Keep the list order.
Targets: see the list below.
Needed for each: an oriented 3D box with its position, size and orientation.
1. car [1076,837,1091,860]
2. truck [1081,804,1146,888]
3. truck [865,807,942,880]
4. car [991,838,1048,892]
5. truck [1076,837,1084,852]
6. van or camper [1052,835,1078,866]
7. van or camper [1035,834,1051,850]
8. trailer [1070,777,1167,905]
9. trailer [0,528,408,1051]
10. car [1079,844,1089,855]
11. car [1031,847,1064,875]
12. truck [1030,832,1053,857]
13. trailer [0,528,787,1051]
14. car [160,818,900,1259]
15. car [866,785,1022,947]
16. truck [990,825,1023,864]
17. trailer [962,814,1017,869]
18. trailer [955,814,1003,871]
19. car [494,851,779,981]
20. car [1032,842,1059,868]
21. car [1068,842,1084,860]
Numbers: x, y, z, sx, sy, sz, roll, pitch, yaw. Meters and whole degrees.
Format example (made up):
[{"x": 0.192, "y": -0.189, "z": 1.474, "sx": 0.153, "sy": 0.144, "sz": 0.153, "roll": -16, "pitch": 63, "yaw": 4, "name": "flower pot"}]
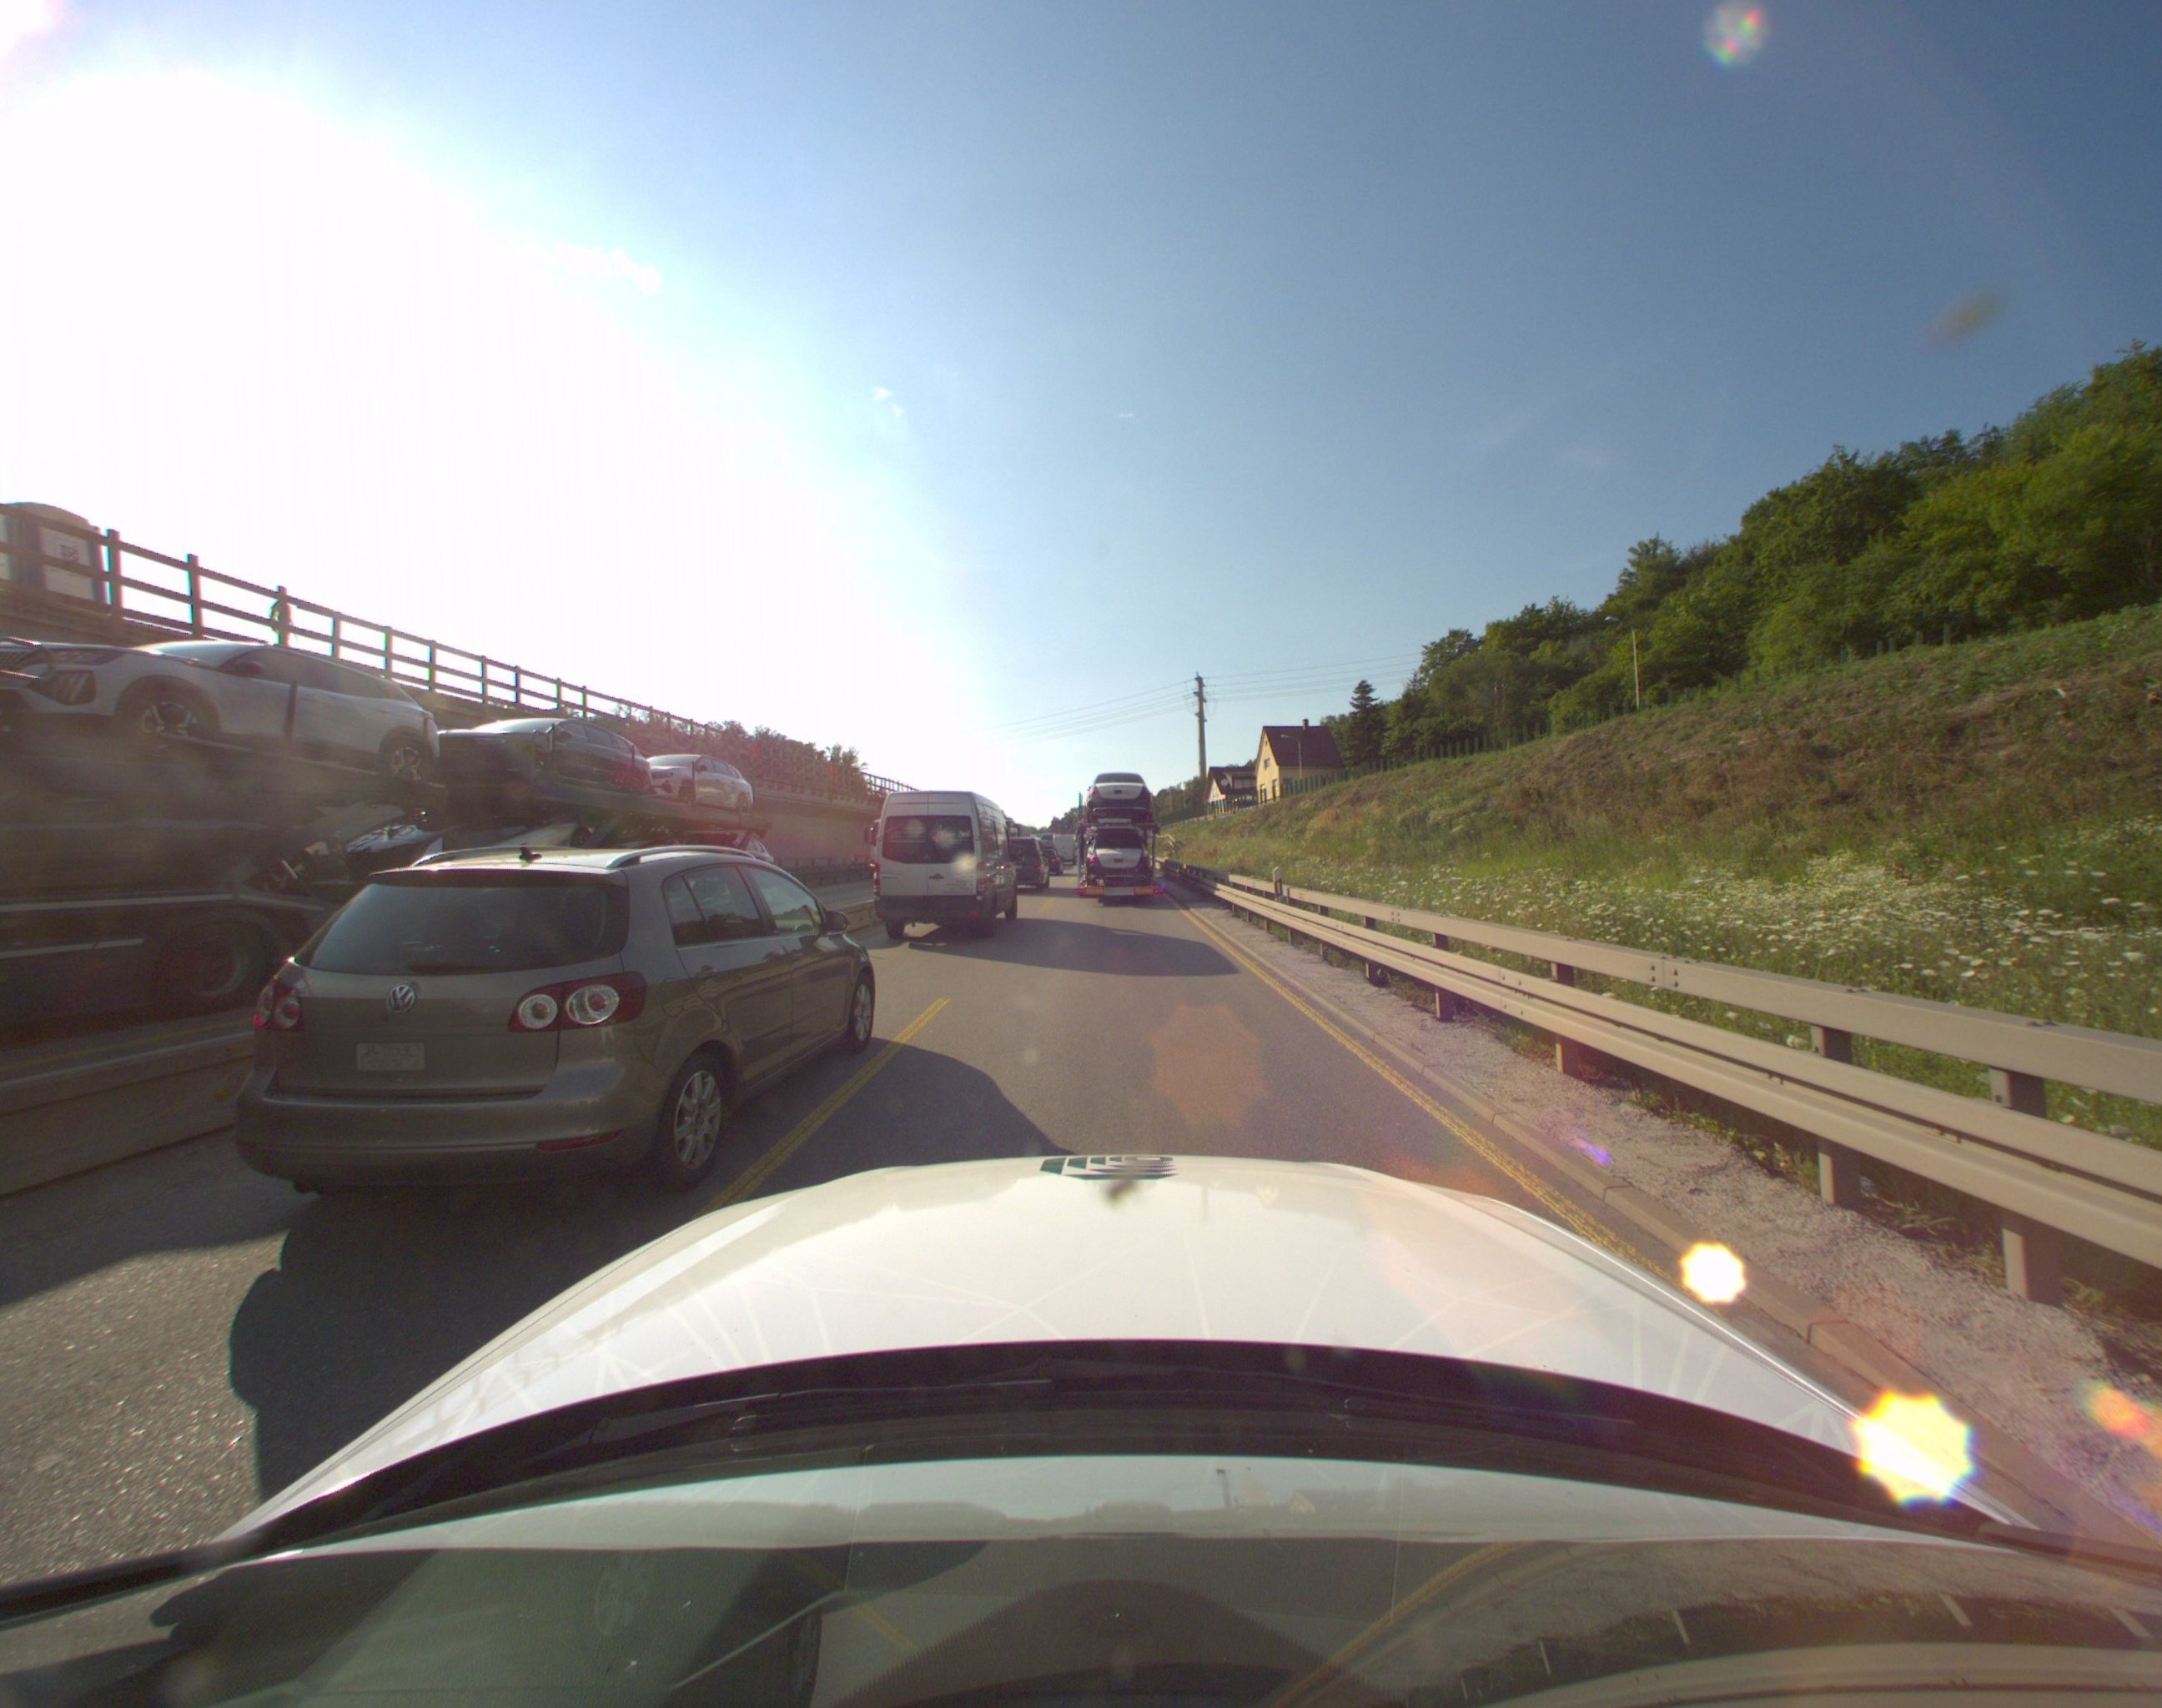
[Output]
[{"x": 0.572, "y": -1.246, "z": 188.697, "sx": 3.434, "sy": 5.035, "sz": 9.651, "roll": -1, "pitch": 0, "yaw": 0, "name": "car"}, {"x": 1.473, "y": -0.333, "z": 37.708, "sx": 2.673, "sy": 3.534, "sz": 7.196, "roll": 0, "pitch": 0, "yaw": 2, "name": "truck"}, {"x": -8.821, "y": -0.496, "z": 41.036, "sx": 2.539, "sy": 3.409, "sz": 5.532, "roll": 0, "pitch": 0, "yaw": 1, "name": "truck"}, {"x": -2.238, "y": 0.405, "z": 30.544, "sx": 1.802, "sy": 1.904, "sz": 3.999, "roll": 0, "pitch": -1, "yaw": 0, "name": "car"}, {"x": -0.277, "y": -3.010, "z": 254.159, "sx": 2.191, "sy": 4.426, "sz": 8.226, "roll": -2, "pitch": 0, "yaw": -1, "name": "truck"}, {"x": -1.339, "y": -0.284, "z": 71.650, "sx": 1.960, "sy": 2.591, "sz": 5.045, "roll": 0, "pitch": 0, "yaw": 3, "name": "van or camper"}, {"x": -6.732, "y": -2.145, "z": 144.462, "sx": 2.304, "sy": 2.662, "sz": 6.456, "roll": -3, "pitch": 1, "yaw": 1, "name": "van or camper"}, {"x": 1.263, "y": -0.360, "z": 30.196, "sx": 2.672, "sy": 3.534, "sz": 15.294, "roll": 0, "pitch": 0, "yaw": 2, "name": "trailer"}, {"x": -9.694, "y": -0.490, "z": 6.357, "sx": 2.761, "sy": 4.031, "sz": 7.209, "roll": 0, "pitch": 0, "yaw": 1, "name": "trailer"}, {"x": 0.898, "y": -1.153, "z": 230.345, "sx": 2.761, "sy": 2.992, "sz": 5.596, "roll": 0, "pitch": 0, "yaw": 0, "name": "car"}, {"x": -1.917, "y": 0.377, "z": 47.748, "sx": 1.720, "sy": 1.522, "sz": 3.973, "roll": 0, "pitch": 1, "yaw": 0, "name": "car"}, {"x": -5.786, "y": -1.314, "z": 119.600, "sx": 2.706, "sy": 3.424, "sz": 8.141, "roll": -4, "pitch": 0, "yaw": 0, "name": "truck"}, {"x": -9.522, "y": -0.462, "z": 14.155, "sx": 2.761, "sy": 4.031, "sz": 15.766, "roll": 0, "pitch": 0, "yaw": 1, "name": "trailer"}, {"x": -2.515, "y": 0.702, "z": 5.141, "sx": 1.674, "sy": 1.588, "sz": 4.272, "roll": -1, "pitch": -1, "yaw": 1, "name": "car"}, {"x": -2.498, "y": 0.166, "z": 16.437, "sx": 1.986, "sy": 2.648, "sz": 5.532, "roll": -2, "pitch": 1, "yaw": 1, "name": "car"}, {"x": -7.821, "y": -0.971, "z": 86.099, "sx": 2.850, "sy": 4.008, "sz": 5.659, "roll": 0, "pitch": 0, "yaw": 1, "name": "truck"}, {"x": -7.502, "y": -1.058, "z": 68.992, "sx": 2.755, "sy": 4.141, "sz": 14.029, "roll": 0, "pitch": 1, "yaw": 1, "name": "trailer"}, {"x": -7.716, "y": -0.921, "z": 62.289, "sx": 2.755, "sy": 4.141, "sz": 5.978, "roll": 0, "pitch": 1, "yaw": 1, "name": "trailer"}, {"x": -6.211, "y": 0.759, "z": 12.074, "sx": 1.750, "sy": 1.578, "sz": 4.340, "roll": 0, "pitch": 0, "yaw": 2, "name": "car"}, {"x": -3.673, "y": 0.082, "z": 84.294, "sx": 2.463, "sy": 2.534, "sz": 4.000, "roll": -1, "pitch": 0, "yaw": 1, "name": "car"}, {"x": -0.593, "y": -0.380, "z": 99.562, "sx": 1.879, "sy": 2.100, "sz": 3.766, "roll": -1, "pitch": 0, "yaw": 1, "name": "car"}]
